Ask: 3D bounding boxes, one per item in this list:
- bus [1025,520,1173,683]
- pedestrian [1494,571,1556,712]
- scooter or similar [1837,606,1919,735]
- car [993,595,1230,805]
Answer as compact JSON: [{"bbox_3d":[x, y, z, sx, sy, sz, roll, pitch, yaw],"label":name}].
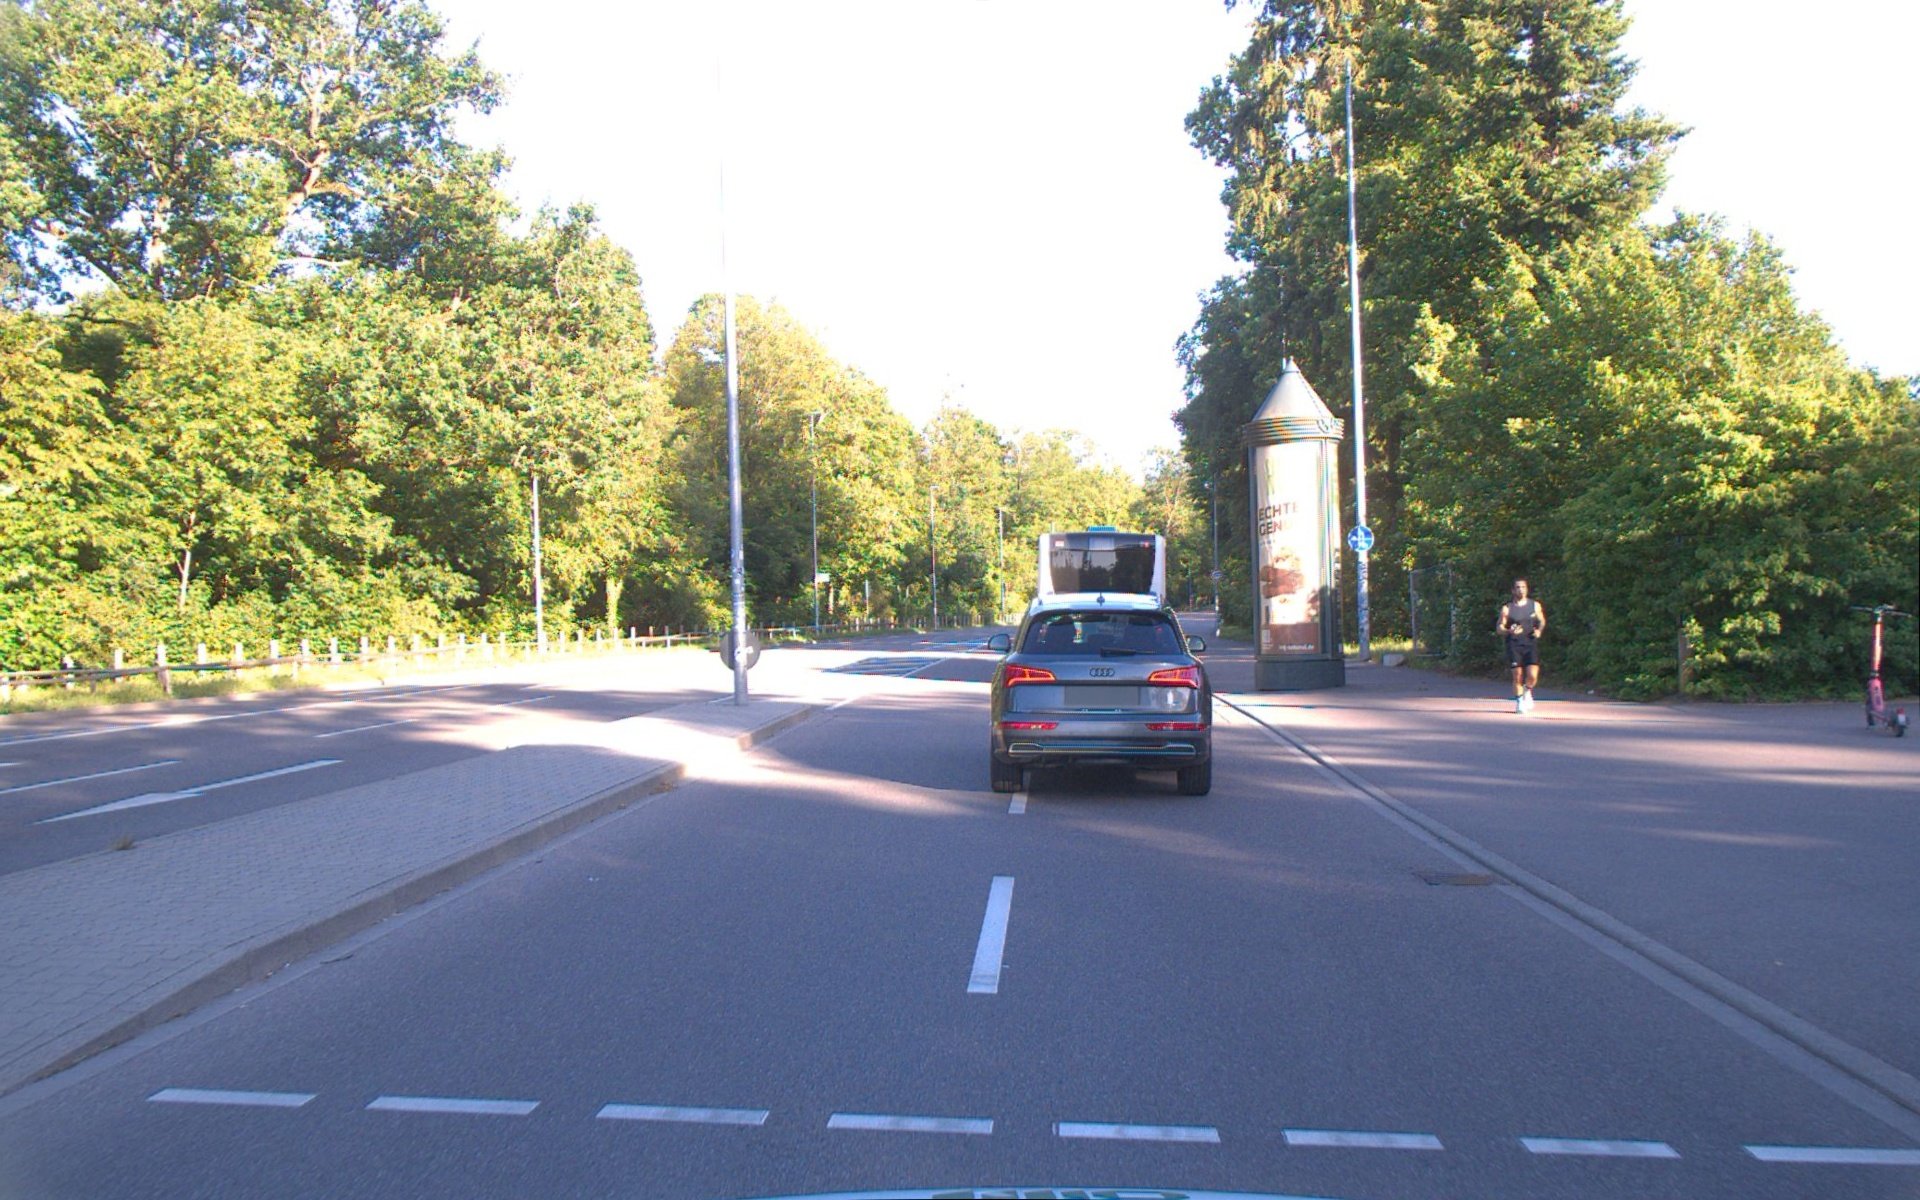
[{"bbox_3d":[2.881,0.081,37.431,2.634,3.096,12.042,0,0,1],"label":"bus"},{"bbox_3d":[7.032,0.508,20.610,0.612,1.718,0.883,0,-1,11],"label":"pedestrian"},{"bbox_3d":[9.071,0.670,16.329,0.275,1.192,1.410,-3,0,11],"label":"scooter or similar"},{"bbox_3d":[1.239,0.785,15.190,1.854,1.633,4.545,0,0,1],"label":"car"}]
